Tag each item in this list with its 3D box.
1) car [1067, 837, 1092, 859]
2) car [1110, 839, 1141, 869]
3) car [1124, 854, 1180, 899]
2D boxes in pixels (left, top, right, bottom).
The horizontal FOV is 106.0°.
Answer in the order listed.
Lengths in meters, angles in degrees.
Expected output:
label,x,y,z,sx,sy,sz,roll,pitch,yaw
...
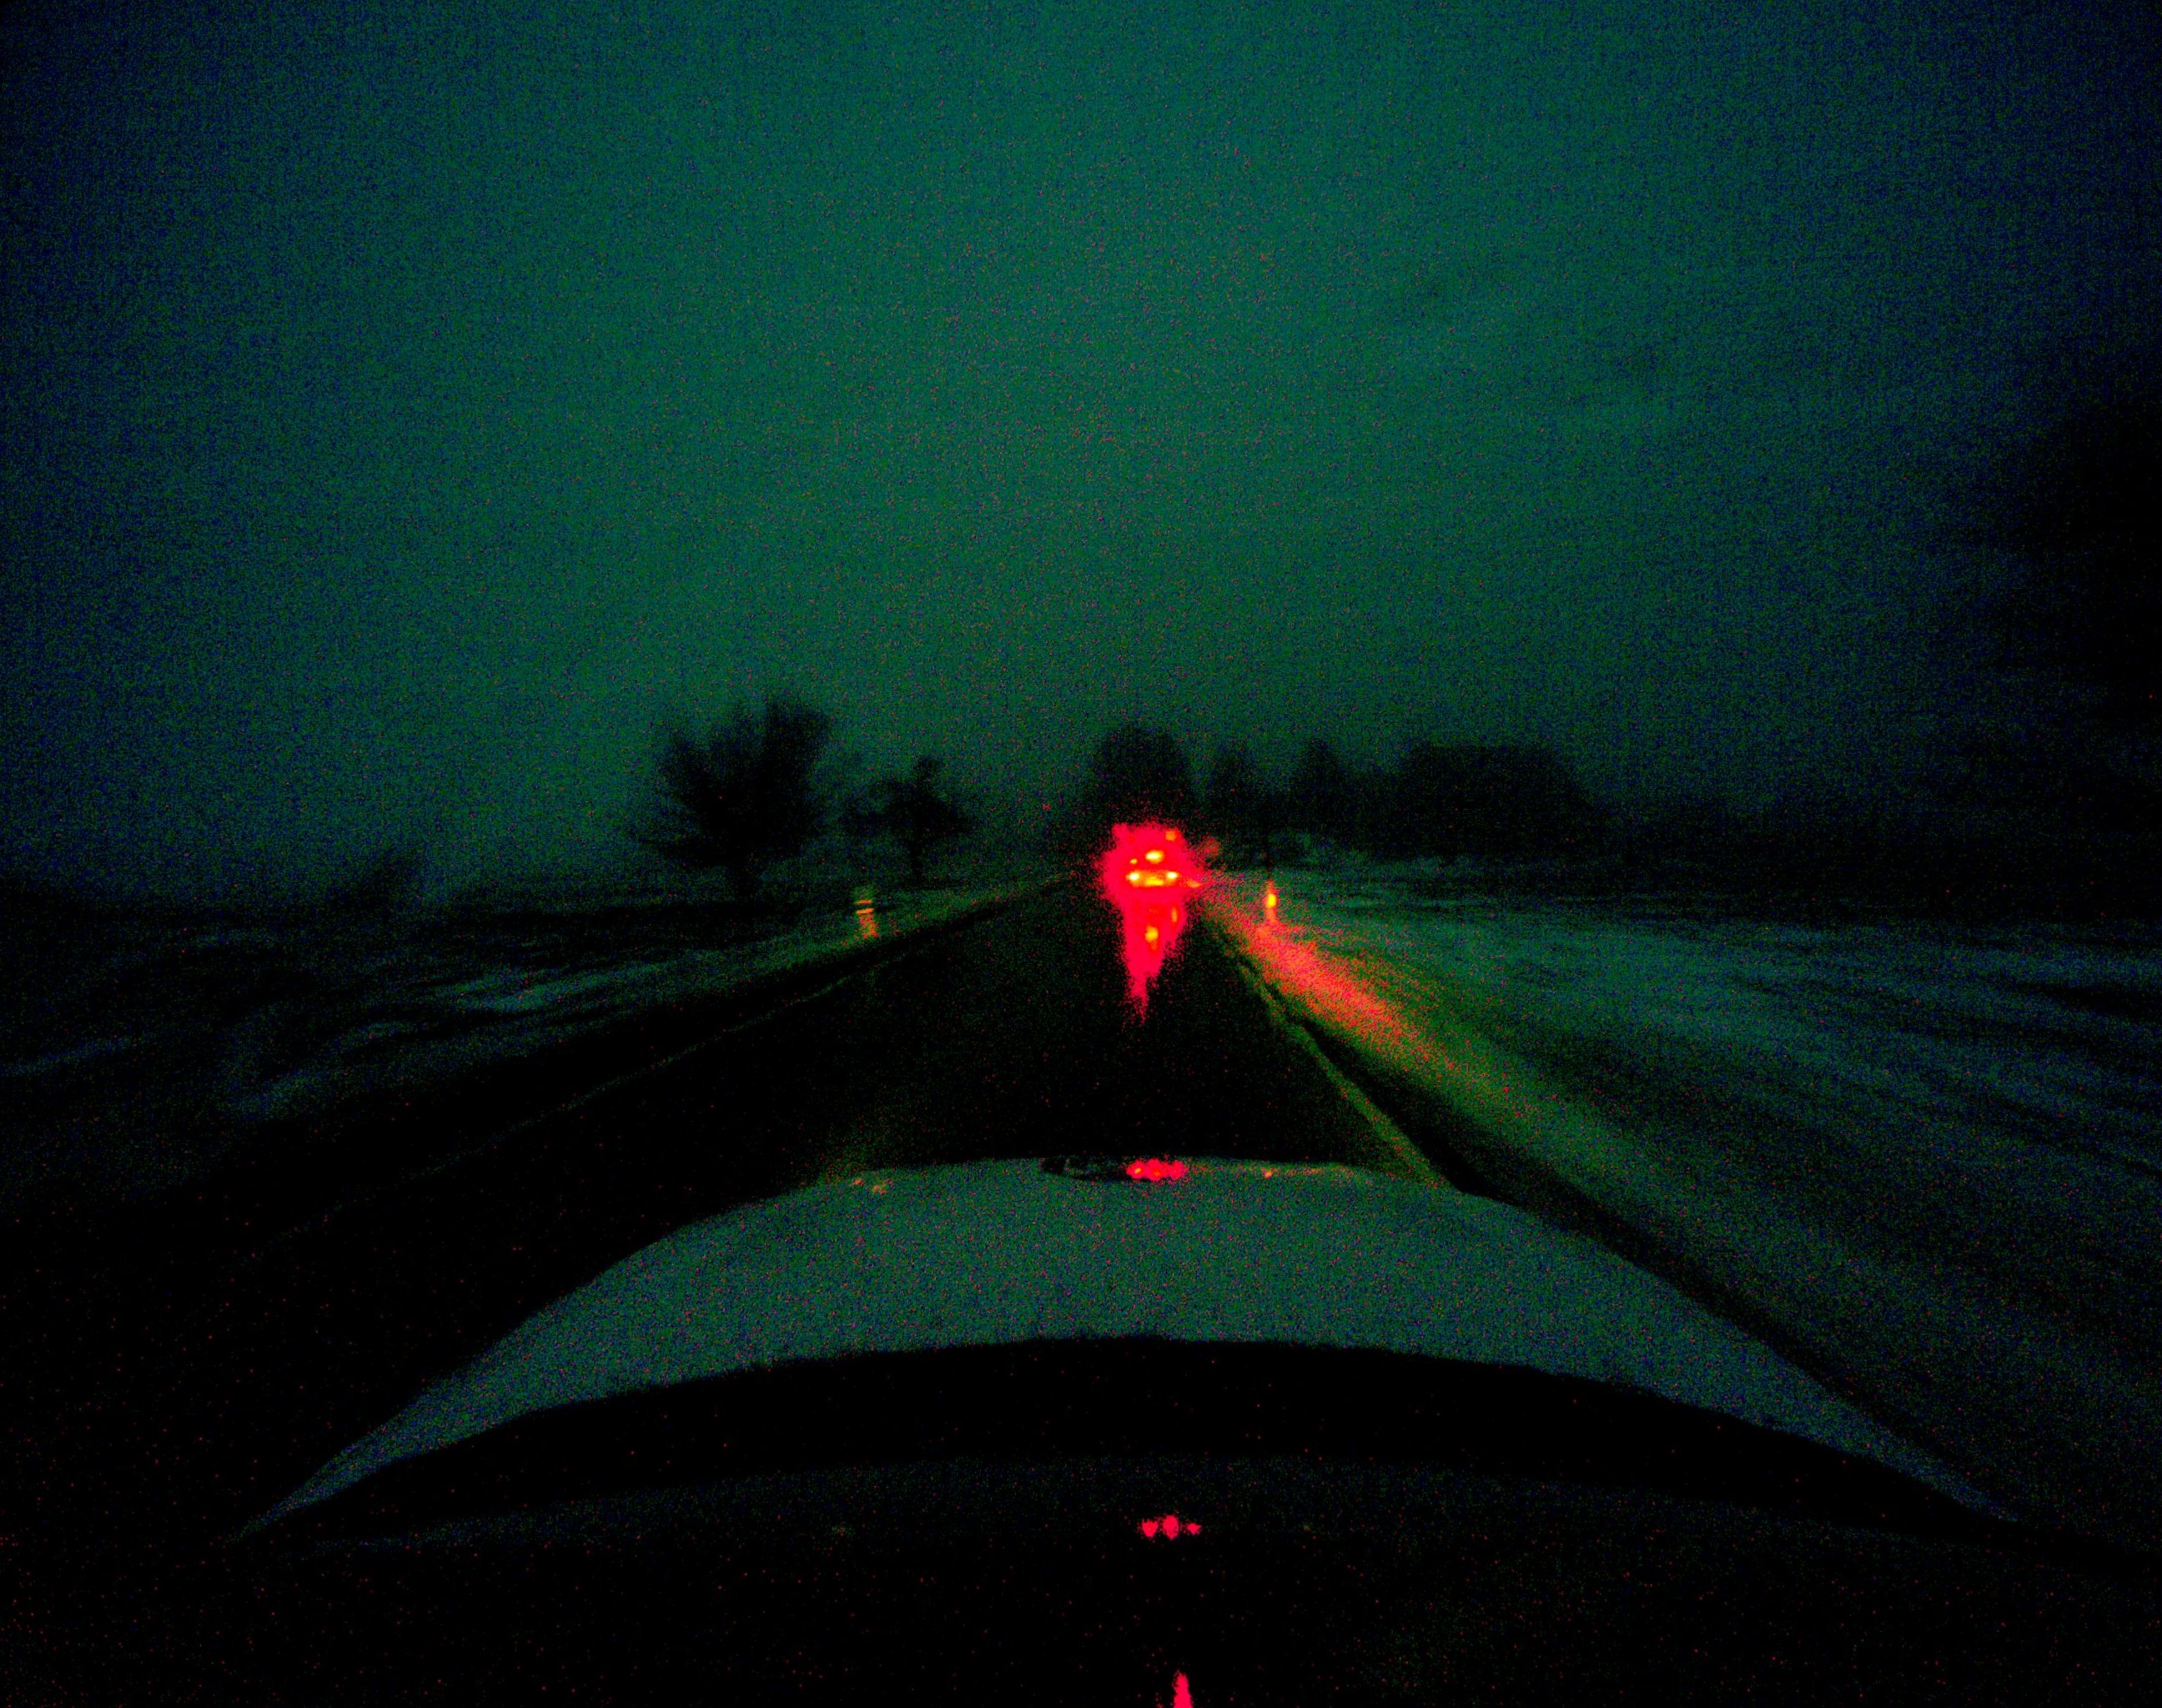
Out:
label,x,y,z,sx,sy,sz,roll,pitch,yaw
car,-0.077,-0.407,59.551,1.515,1.508,3.057,-2,-1,5
car,2.428,-0.011,43.916,1.471,1.508,3.057,-2,0,5
car,2.457,0.781,28.966,1.700,1.463,4.001,2,-1,2
